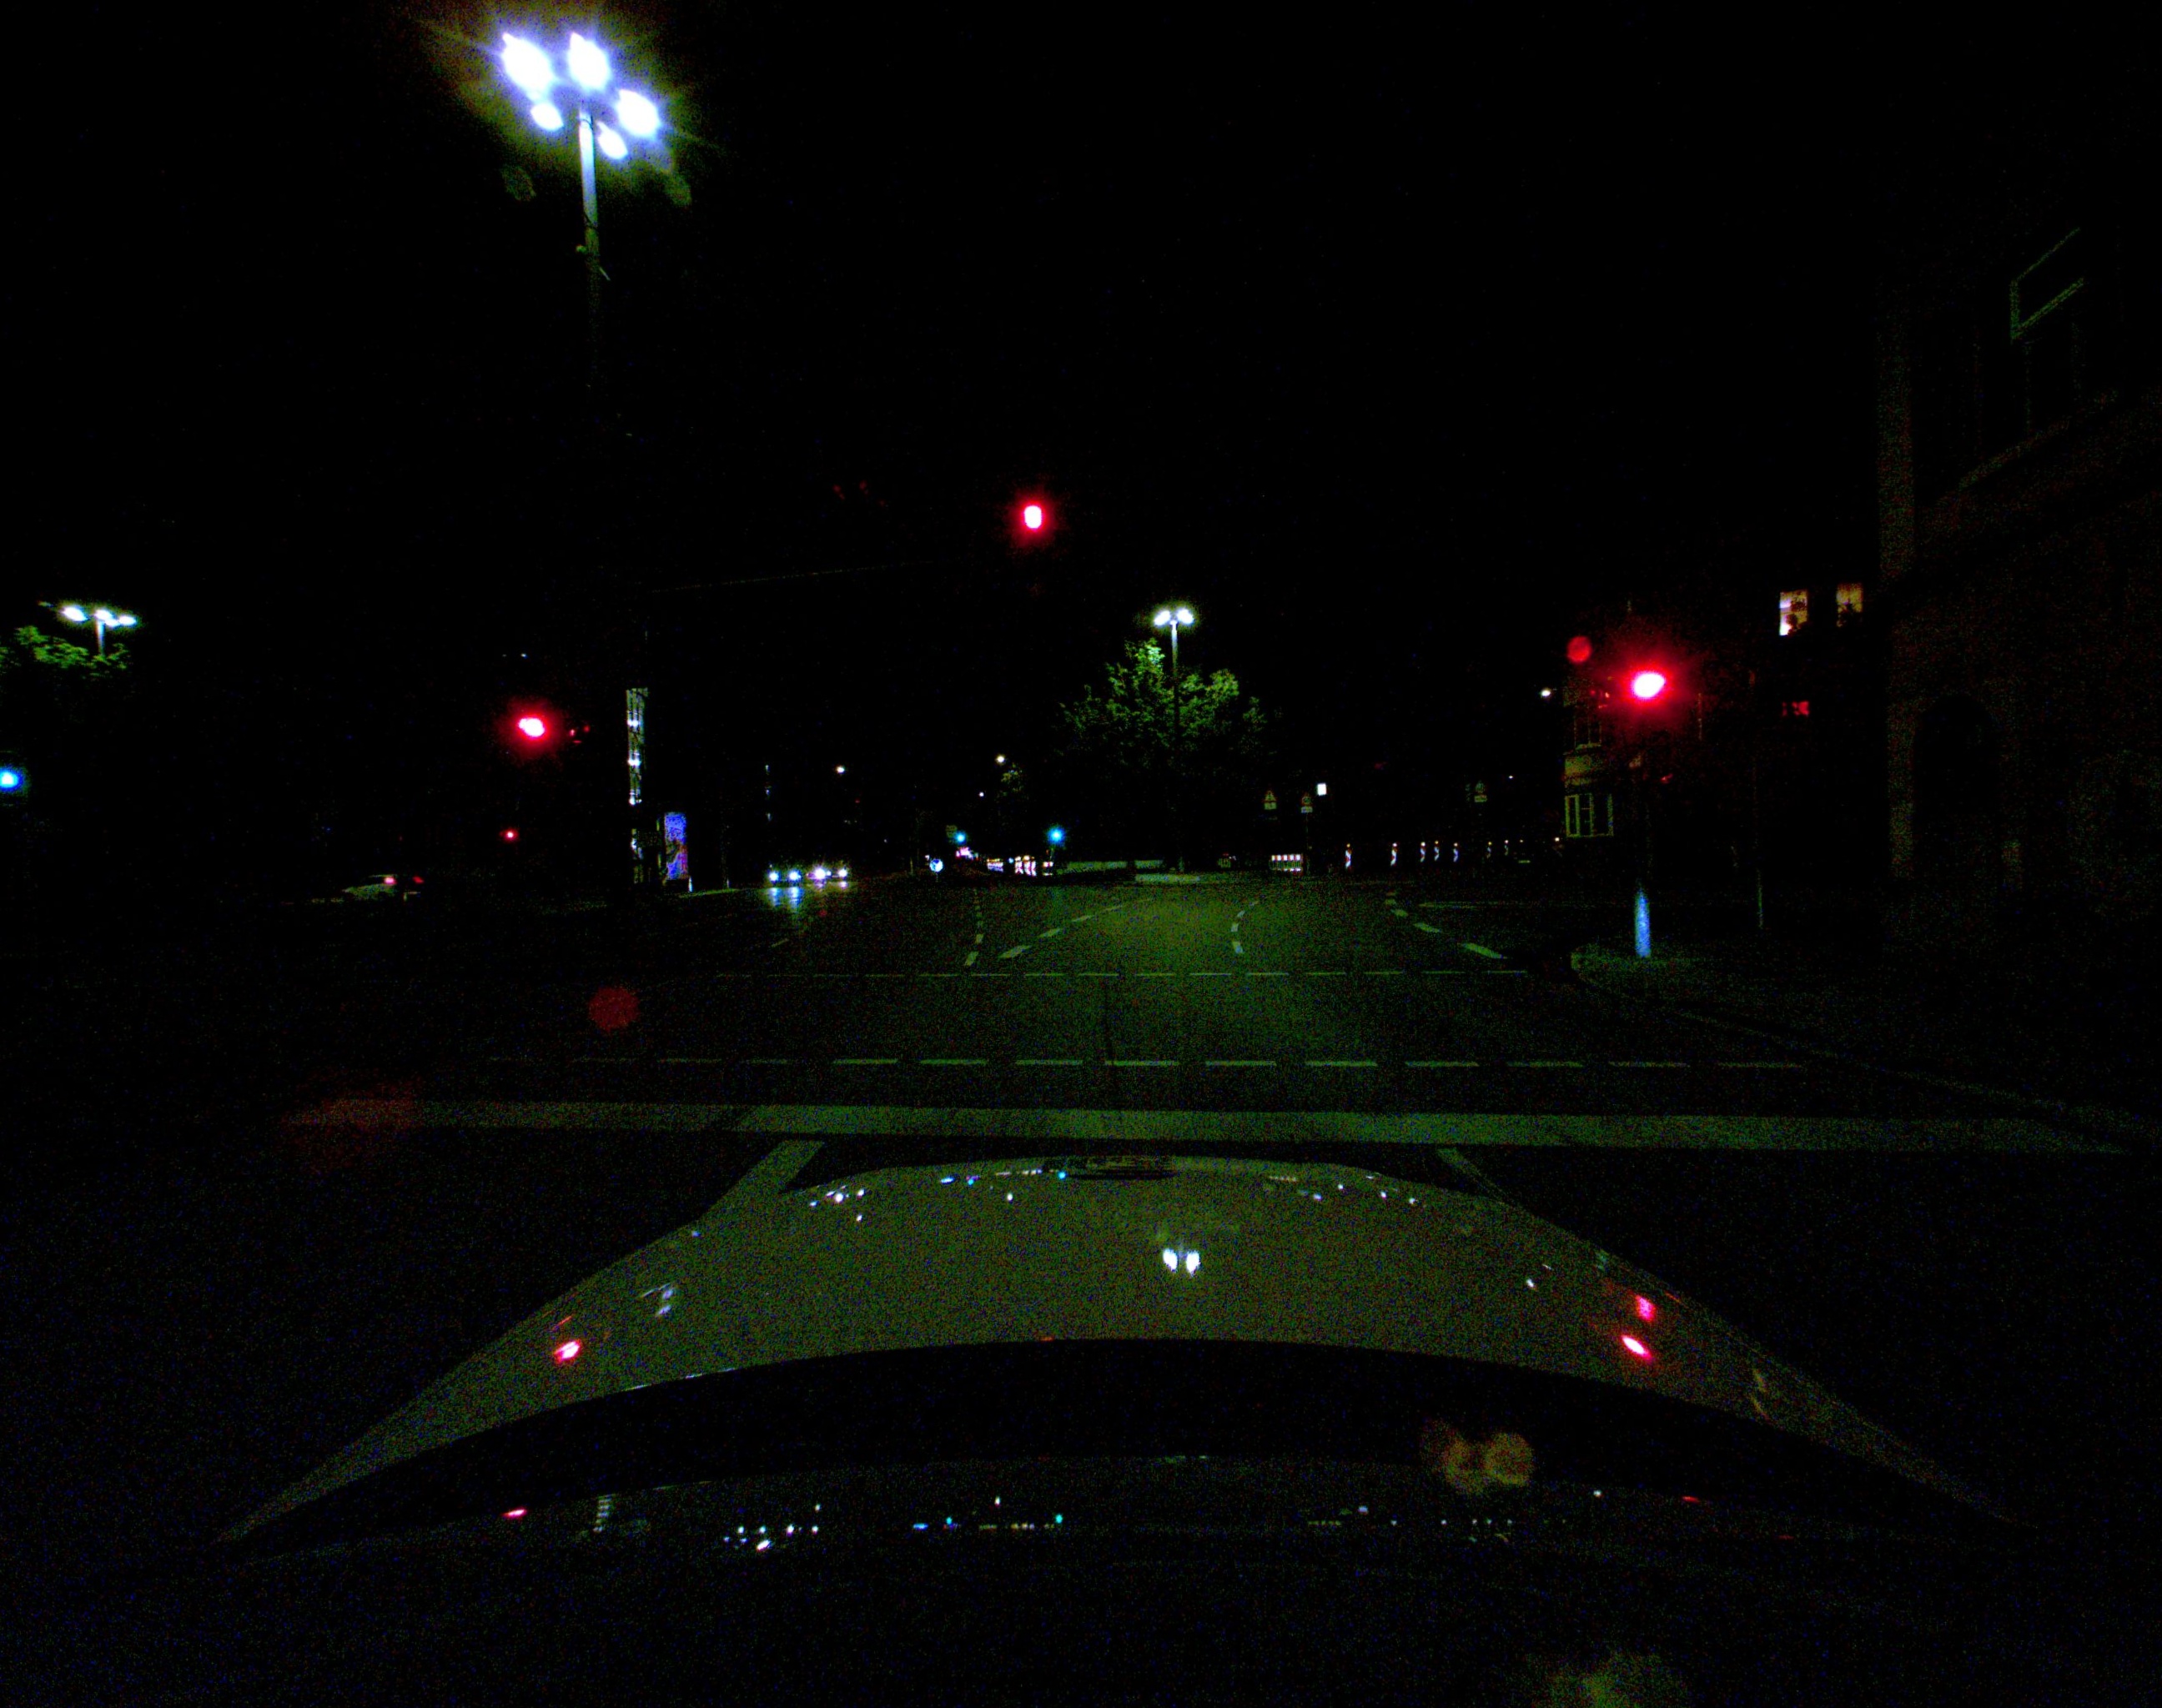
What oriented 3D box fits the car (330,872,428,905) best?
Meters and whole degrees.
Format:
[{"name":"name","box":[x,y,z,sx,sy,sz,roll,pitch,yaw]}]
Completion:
[{"name":"car","box":[-34.355,1.689,39.874,3.956,1.491,1.716,-2,-1,16]}]

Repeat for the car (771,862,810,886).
[{"name":"car","box":[-19.700,1.368,55.340,1.614,1.515,3.990,-2,-1,-7]}]

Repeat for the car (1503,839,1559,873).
[{"name":"car","box":[22.703,0.109,41.036,1.711,1.612,3.646,-2,-1,41]}]

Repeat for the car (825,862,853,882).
[{"name":"car","box":[-21.769,1.638,73.379,1.756,1.728,3.538,-2,-1,-7]}]

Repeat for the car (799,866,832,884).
[{"name":"car","box":[-20.402,1.583,62.784,1.756,1.322,3.538,-2,-1,-7]}]
